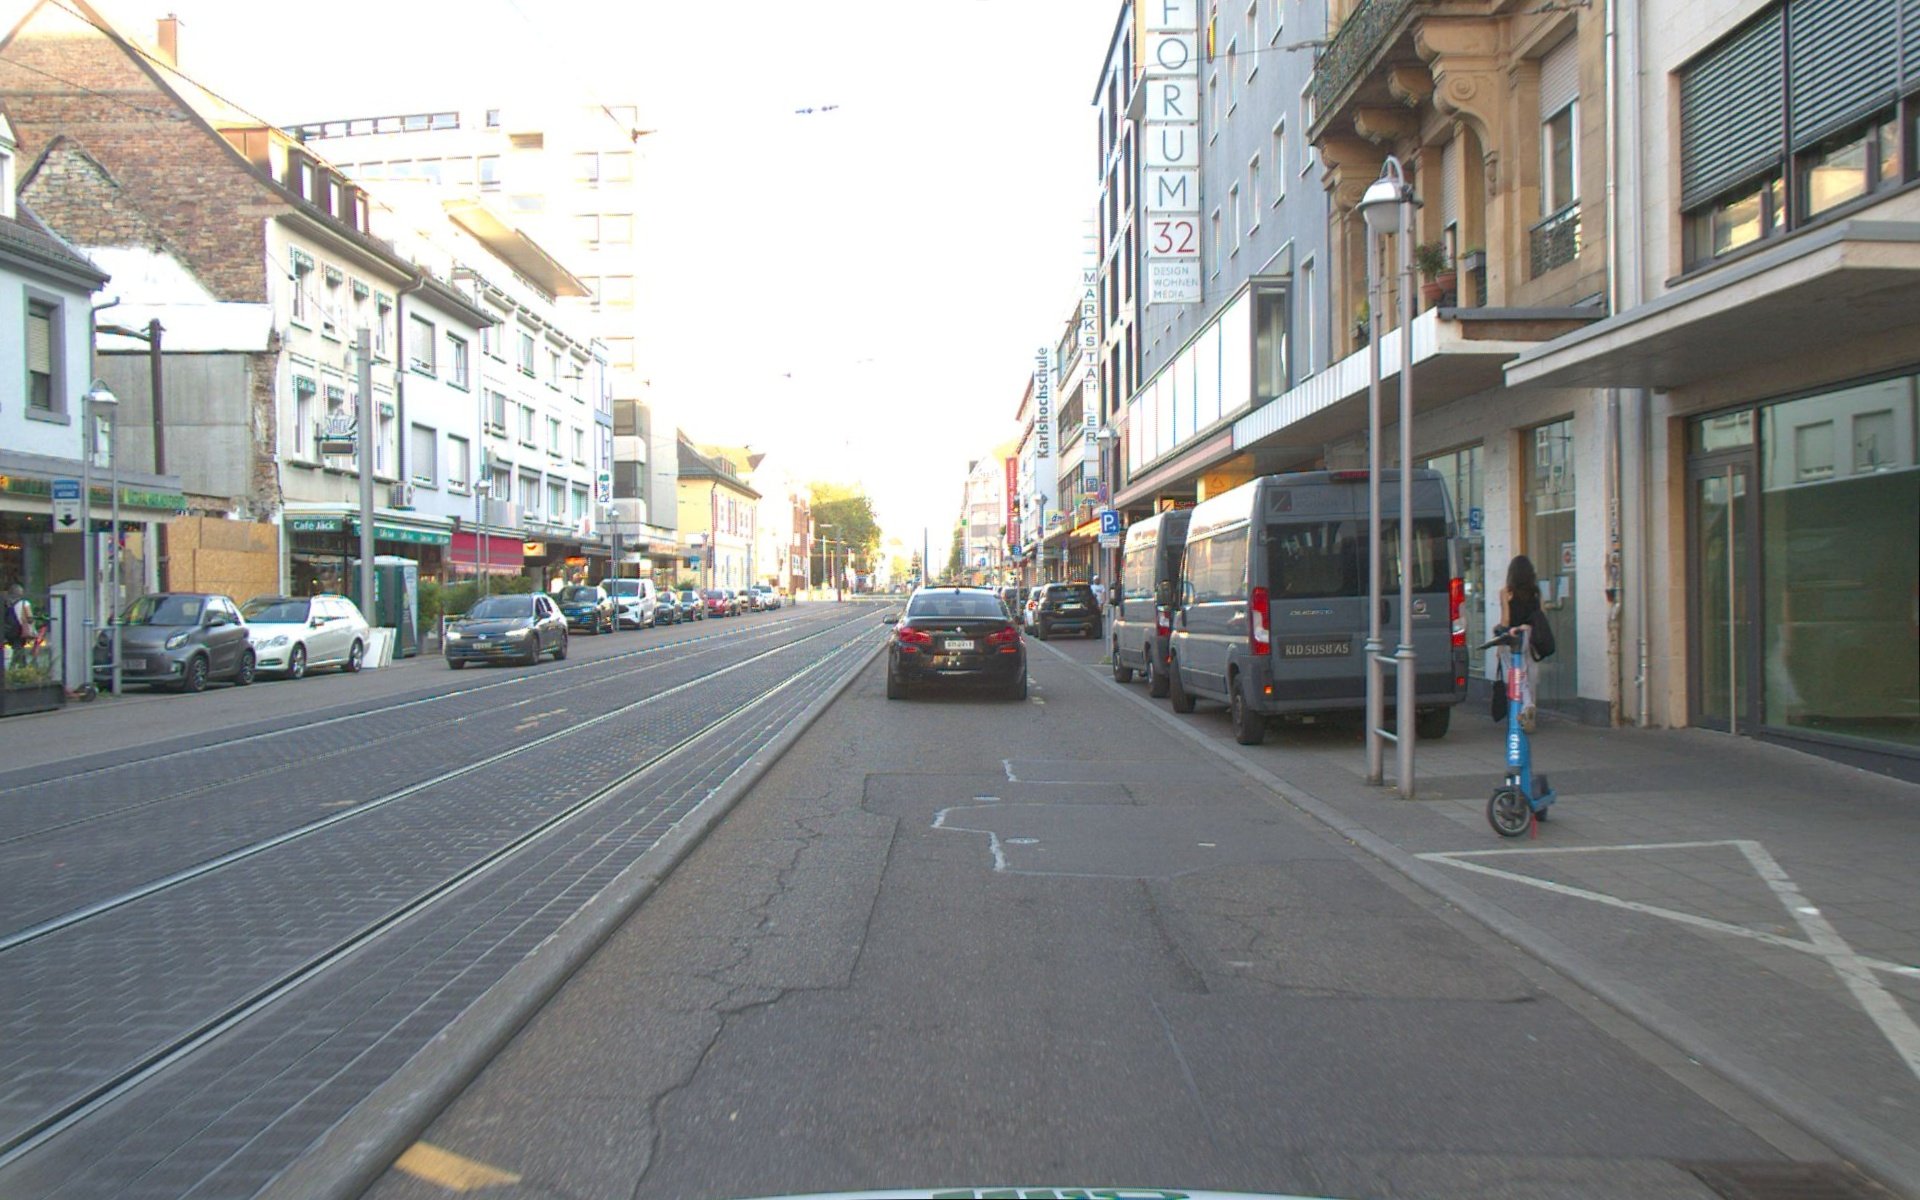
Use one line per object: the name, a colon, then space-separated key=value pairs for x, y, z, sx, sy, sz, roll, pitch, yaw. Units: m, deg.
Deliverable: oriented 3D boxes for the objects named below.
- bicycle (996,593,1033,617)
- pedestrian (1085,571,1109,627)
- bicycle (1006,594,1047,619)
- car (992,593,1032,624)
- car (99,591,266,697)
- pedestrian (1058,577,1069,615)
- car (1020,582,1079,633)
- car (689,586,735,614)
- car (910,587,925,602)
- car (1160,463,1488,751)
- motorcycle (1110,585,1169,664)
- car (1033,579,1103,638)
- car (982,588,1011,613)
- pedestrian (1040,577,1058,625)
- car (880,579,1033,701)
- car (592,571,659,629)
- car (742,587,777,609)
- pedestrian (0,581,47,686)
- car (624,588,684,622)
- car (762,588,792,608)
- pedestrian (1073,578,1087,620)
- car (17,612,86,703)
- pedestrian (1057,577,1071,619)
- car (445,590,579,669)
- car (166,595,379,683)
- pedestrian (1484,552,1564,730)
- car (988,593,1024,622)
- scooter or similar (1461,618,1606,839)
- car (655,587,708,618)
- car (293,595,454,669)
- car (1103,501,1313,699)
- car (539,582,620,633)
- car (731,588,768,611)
bicycle: x=2.680 y=0.255 z=81.410 sx=1.823 sy=1.139 sz=0.468 roll=0 pitch=-1 yaw=0
pedestrian: x=4.449 y=-0.042 z=53.826 sx=0.674 sy=1.771 sz=0.821 roll=-2 pitch=0 yaw=1
bicycle: x=3.034 y=0.296 z=75.628 sx=1.823 sy=1.099 sz=0.468 roll=0 pitch=-1 yaw=0
car: x=2.624 y=0.427 z=84.713 sx=1.864 sy=1.576 sz=3.999 roll=0 pitch=0 yaw=-1
car: x=-12.547 y=0.667 z=26.849 sx=1.447 sy=1.605 sz=2.793 roll=-1 pitch=0 yaw=-2
pedestrian: x=4.681 y=-0.188 z=75.051 sx=0.465 sy=1.729 sz=0.752 roll=-1 pitch=0 yaw=3
car: x=2.771 y=0.199 z=51.981 sx=1.528 sy=1.467 sz=3.708 roll=-3 pitch=0 yaw=-1
car: x=-13.489 y=-0.018 z=90.026 sx=1.889 sy=1.460 sz=4.245 roll=0 pitch=0 yaw=0
car: x=-5.778 y=-0.734 z=223.762 sx=1.953 sy=1.870 sz=3.998 roll=0 pitch=-3 yaw=-1
car: x=3.618 y=0.034 z=17.771 sx=2.050 sy=2.498 sz=6.031 roll=-2 pitch=0 yaw=-1
motorcycle: x=3.458 y=0.453 z=32.093 sx=0.827 sy=1.443 sz=2.164 roll=-3 pitch=0 yaw=-1
car: x=3.015 y=0.213 z=46.770 sx=1.621 sy=1.564 sz=3.885 roll=-2 pitch=0 yaw=-1
car: x=2.340 y=0.011 z=106.357 sx=1.738 sy=1.576 sz=3.502 roll=0 pitch=0 yaw=-1
pedestrian: x=3.113 y=0.027 z=58.056 sx=0.545 sy=1.676 sz=0.759 roll=-1 pitch=0 yaw=-2
car: x=-0.008 y=0.499 z=23.117 sx=1.913 sy=1.524 sz=4.465 roll=1 pitch=0 yaw=1
car: x=-13.275 y=-0.005 z=65.888 sx=1.954 sy=2.194 sz=4.907 roll=-1 pitch=0 yaw=-4
car: x=-13.884 y=-0.170 z=114.669 sx=1.889 sy=1.460 sz=4.245 roll=0 pitch=0 yaw=0
pedestrian: x=-15.232 y=0.537 z=26.660 sx=0.649 sy=1.673 sz=0.694 roll=0 pitch=0 yaw=0
car: x=-13.541 y=0.189 z=73.306 sx=1.889 sy=1.460 sz=4.245 roll=0 pitch=0 yaw=0
car: x=-14.216 y=-0.175 z=128.755 sx=1.889 sy=1.460 sz=4.245 roll=0 pitch=0 yaw=0
pedestrian: x=5.265 y=-0.066 z=72.549 sx=0.497 sy=1.824 sz=0.760 roll=-1 pitch=0 yaw=0
car: x=-12.910 y=0.815 z=23.501 sx=0.768 sy=1.256 sz=0.339 roll=-1 pitch=0 yaw=-3
pedestrian: x=4.569 y=-0.092 z=72.635 sx=0.542 sy=1.823 sz=0.760 roll=-1 pitch=0 yaw=-1
car: x=-9.425 y=0.573 z=35.162 sx=1.657 sy=1.478 sz=4.464 roll=-3 pitch=1 yaw=-1
car: x=-12.808 y=0.671 z=31.192 sx=1.952 sy=1.478 sz=4.822 roll=-1 pitch=0 yaw=0
pedestrian: x=5.431 y=0.387 z=15.933 sx=0.539 sy=1.673 sz=0.533 roll=-2 pitch=0 yaw=-1
car: x=2.523 y=0.443 z=91.736 sx=1.864 sy=1.576 sz=3.779 roll=0 pitch=-1 yaw=-1
scooter or similar: x=3.544 y=0.749 z=10.179 sx=0.490 sy=1.241 sz=1.260 roll=-1 pitch=0 yaw=36
car: x=-13.461 y=0.114 z=80.174 sx=1.889 sy=1.460 sz=4.245 roll=0 pitch=0 yaw=0
car: x=-12.816 y=0.658 z=36.440 sx=1.952 sy=1.478 sz=4.330 roll=-1 pitch=0 yaw=0
car: x=3.458 y=-0.025 z=24.203 sx=1.992 sy=2.498 sz=5.407 roll=-2 pitch=0 yaw=-2
car: x=-13.333 y=0.241 z=58.222 sx=1.822 sy=1.707 sz=4.464 roll=0 pitch=0 yaw=0
car: x=-13.801 y=-0.043 z=108.610 sx=1.889 sy=1.460 sz=4.245 roll=-1 pitch=0 yaw=0
